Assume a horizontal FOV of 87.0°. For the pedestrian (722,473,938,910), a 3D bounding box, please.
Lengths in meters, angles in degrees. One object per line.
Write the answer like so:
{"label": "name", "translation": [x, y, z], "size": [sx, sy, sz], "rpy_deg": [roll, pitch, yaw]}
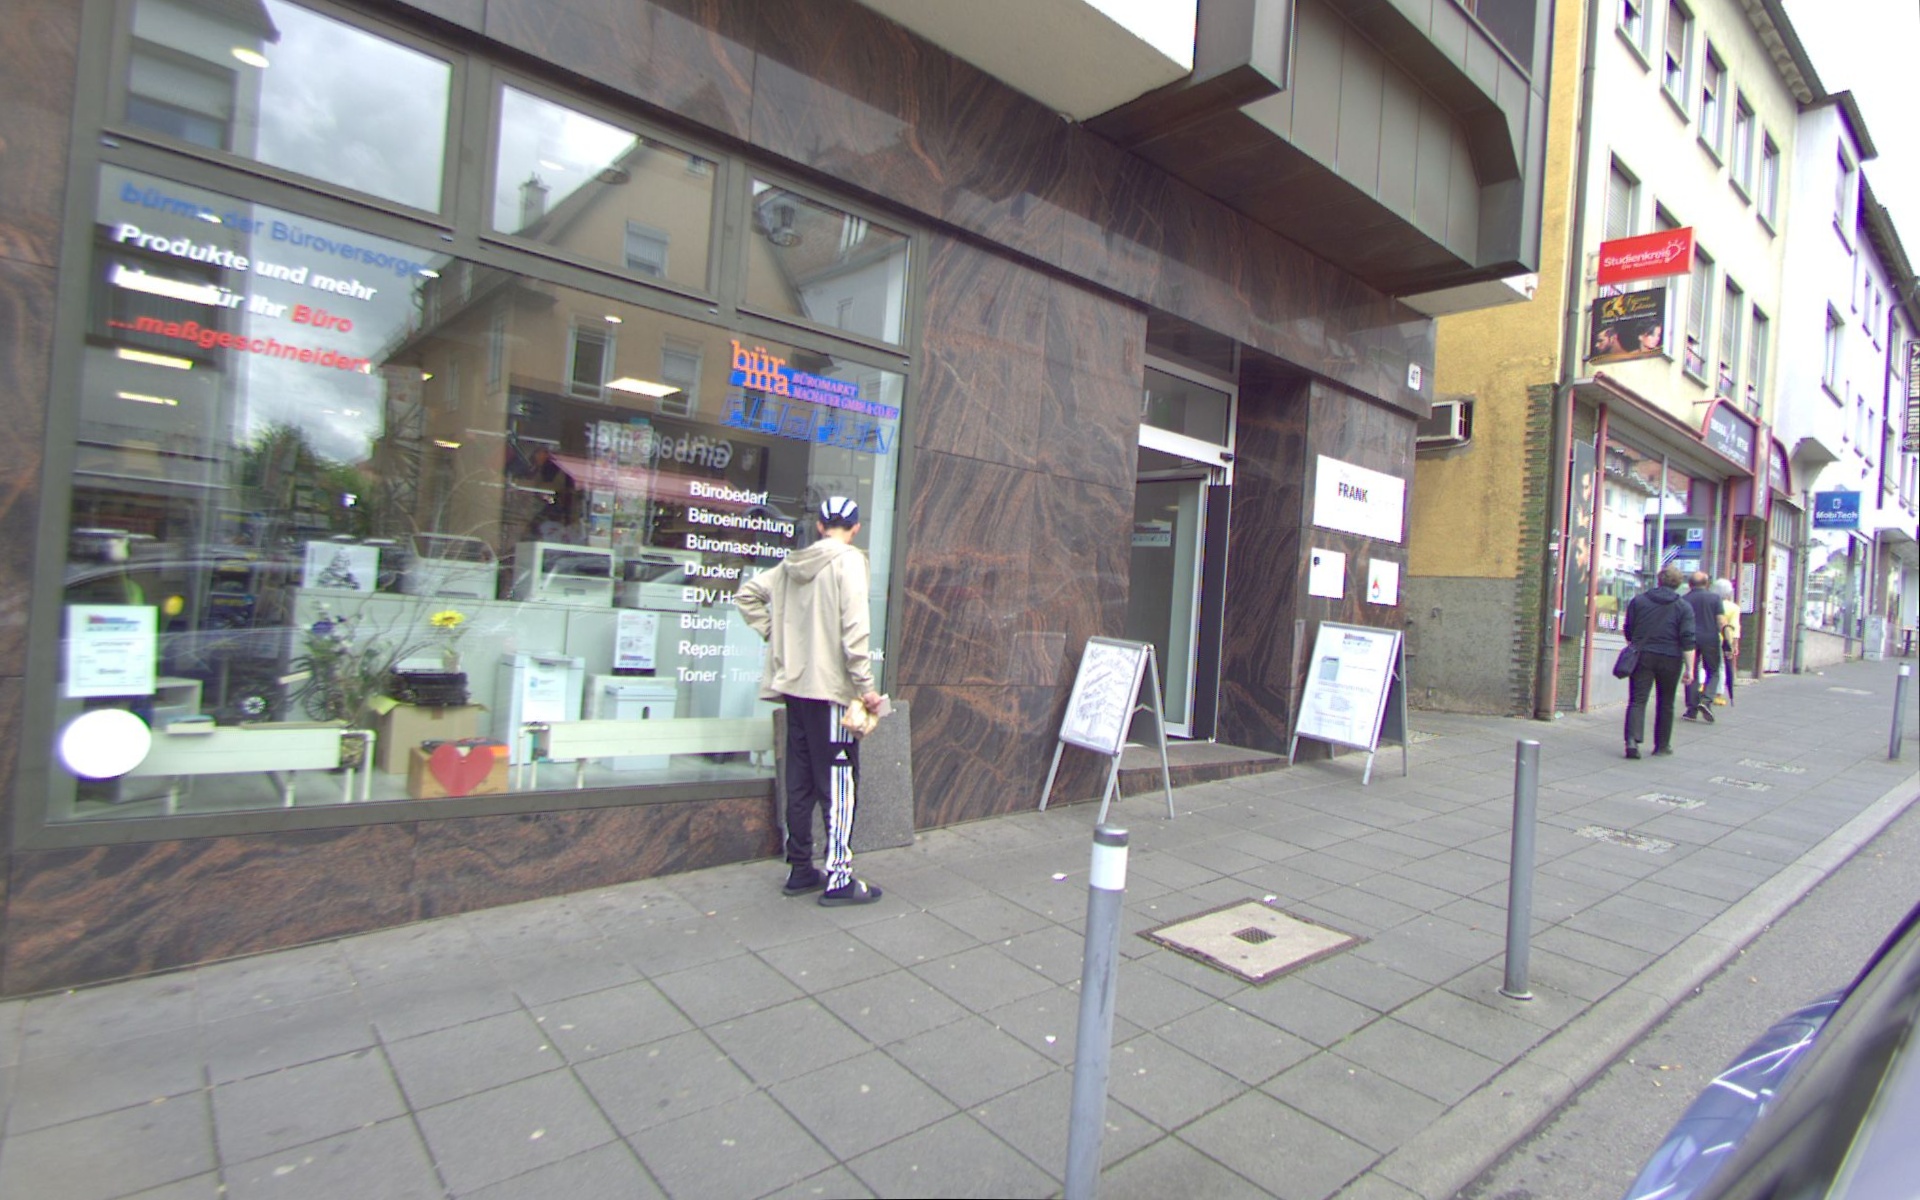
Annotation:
{"label": "pedestrian", "translation": [-0.569, 0.337, 4.364], "size": [0.663, 1.709, 0.535], "rpy_deg": [7, 4, 44]}

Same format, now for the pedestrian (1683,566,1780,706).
{"label": "pedestrian", "translation": [9.715, 0.431, 12.749], "size": [0.820, 1.651, 0.713], "rpy_deg": [1, 3, -40]}

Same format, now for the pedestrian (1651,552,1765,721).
{"label": "pedestrian", "translation": [8.408, 0.387, 11.380], "size": [0.771, 1.773, 0.713], "rpy_deg": [1, 5, -40]}

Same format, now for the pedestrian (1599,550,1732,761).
{"label": "pedestrian", "translation": [6.330, 0.462, 9.089], "size": [0.773, 1.774, 0.713], "rpy_deg": [1, 3, -40]}
